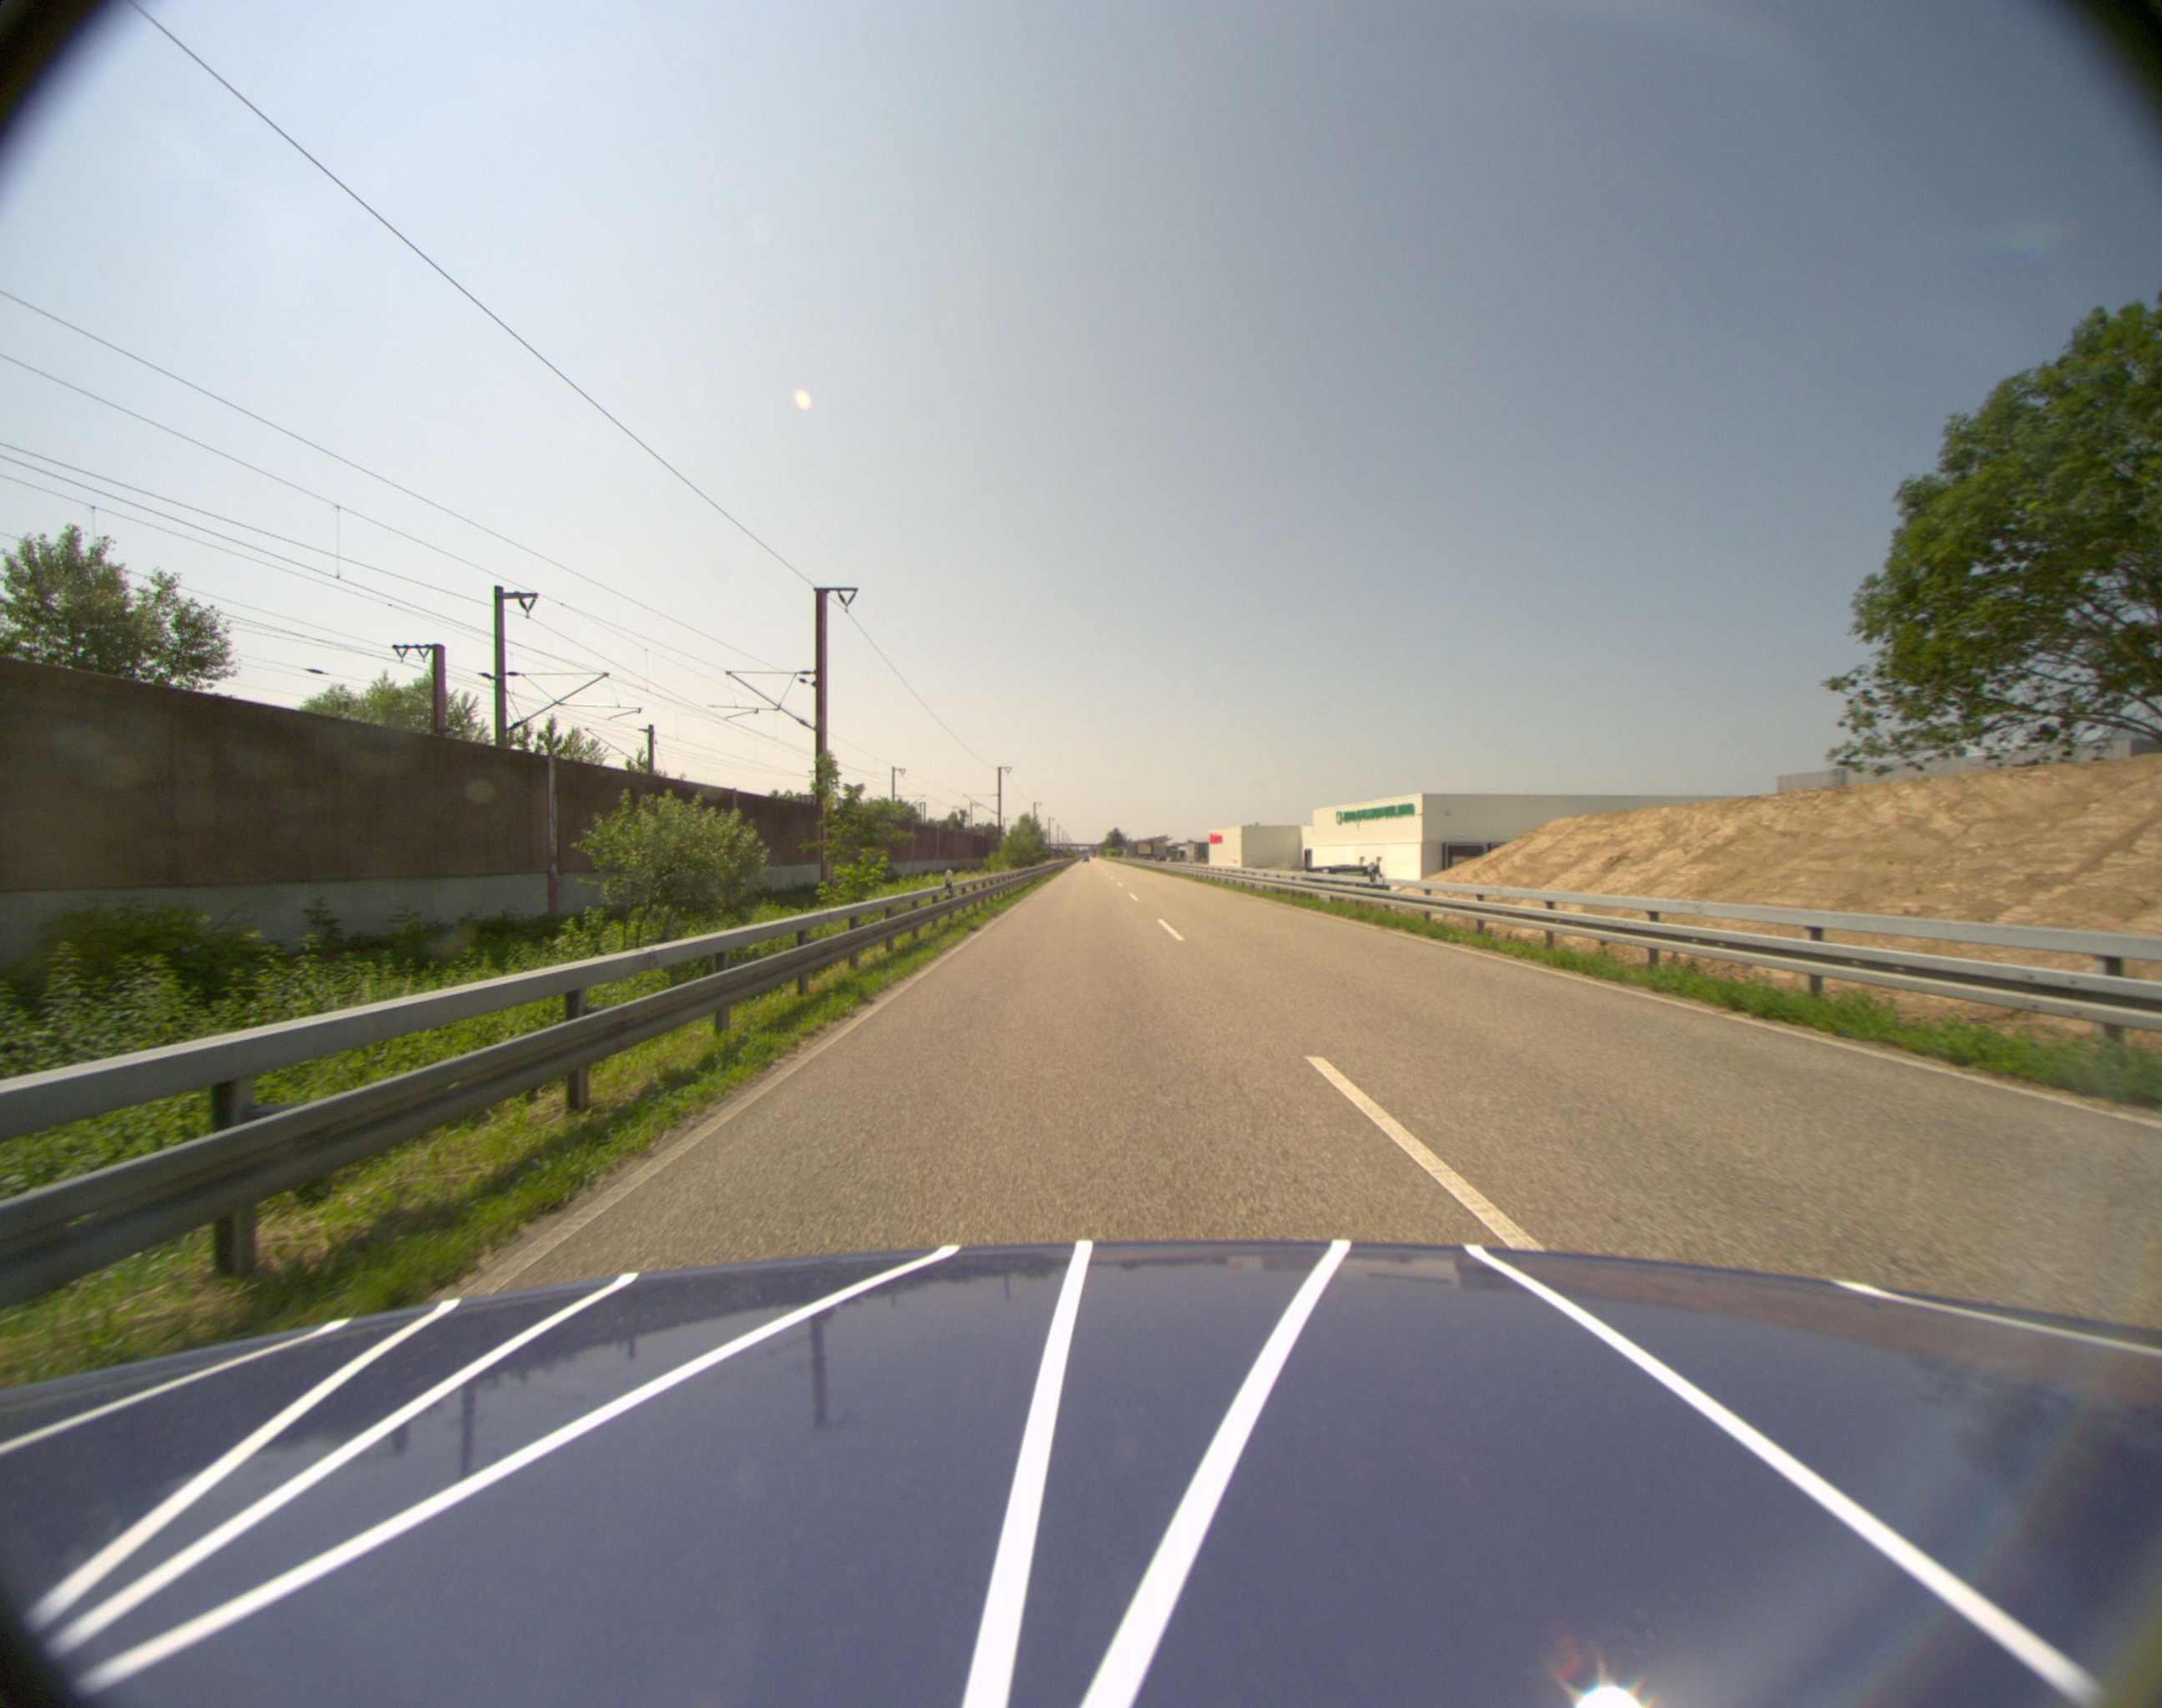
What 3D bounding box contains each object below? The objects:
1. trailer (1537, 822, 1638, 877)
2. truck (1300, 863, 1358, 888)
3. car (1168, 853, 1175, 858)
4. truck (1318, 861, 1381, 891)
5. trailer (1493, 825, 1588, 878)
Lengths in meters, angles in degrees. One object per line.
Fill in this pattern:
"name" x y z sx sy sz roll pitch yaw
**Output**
"trailer" 40.304 -0.416 60.838 2.670 4.069 7.577 -1 1 -3
"truck" 24.607 2.096 75.431 5.021 2.320 2.232 -1 0 1
"car" 28.697 0.431 240.327 1.555 1.664 3.311 0 0 -5
"truck" 25.146 2.033 71.343 5.059 2.523 2.272 -2 1 -4
"trailer" 36.237 -0.269 60.316 2.670 3.965 7.577 -1 1 -3
